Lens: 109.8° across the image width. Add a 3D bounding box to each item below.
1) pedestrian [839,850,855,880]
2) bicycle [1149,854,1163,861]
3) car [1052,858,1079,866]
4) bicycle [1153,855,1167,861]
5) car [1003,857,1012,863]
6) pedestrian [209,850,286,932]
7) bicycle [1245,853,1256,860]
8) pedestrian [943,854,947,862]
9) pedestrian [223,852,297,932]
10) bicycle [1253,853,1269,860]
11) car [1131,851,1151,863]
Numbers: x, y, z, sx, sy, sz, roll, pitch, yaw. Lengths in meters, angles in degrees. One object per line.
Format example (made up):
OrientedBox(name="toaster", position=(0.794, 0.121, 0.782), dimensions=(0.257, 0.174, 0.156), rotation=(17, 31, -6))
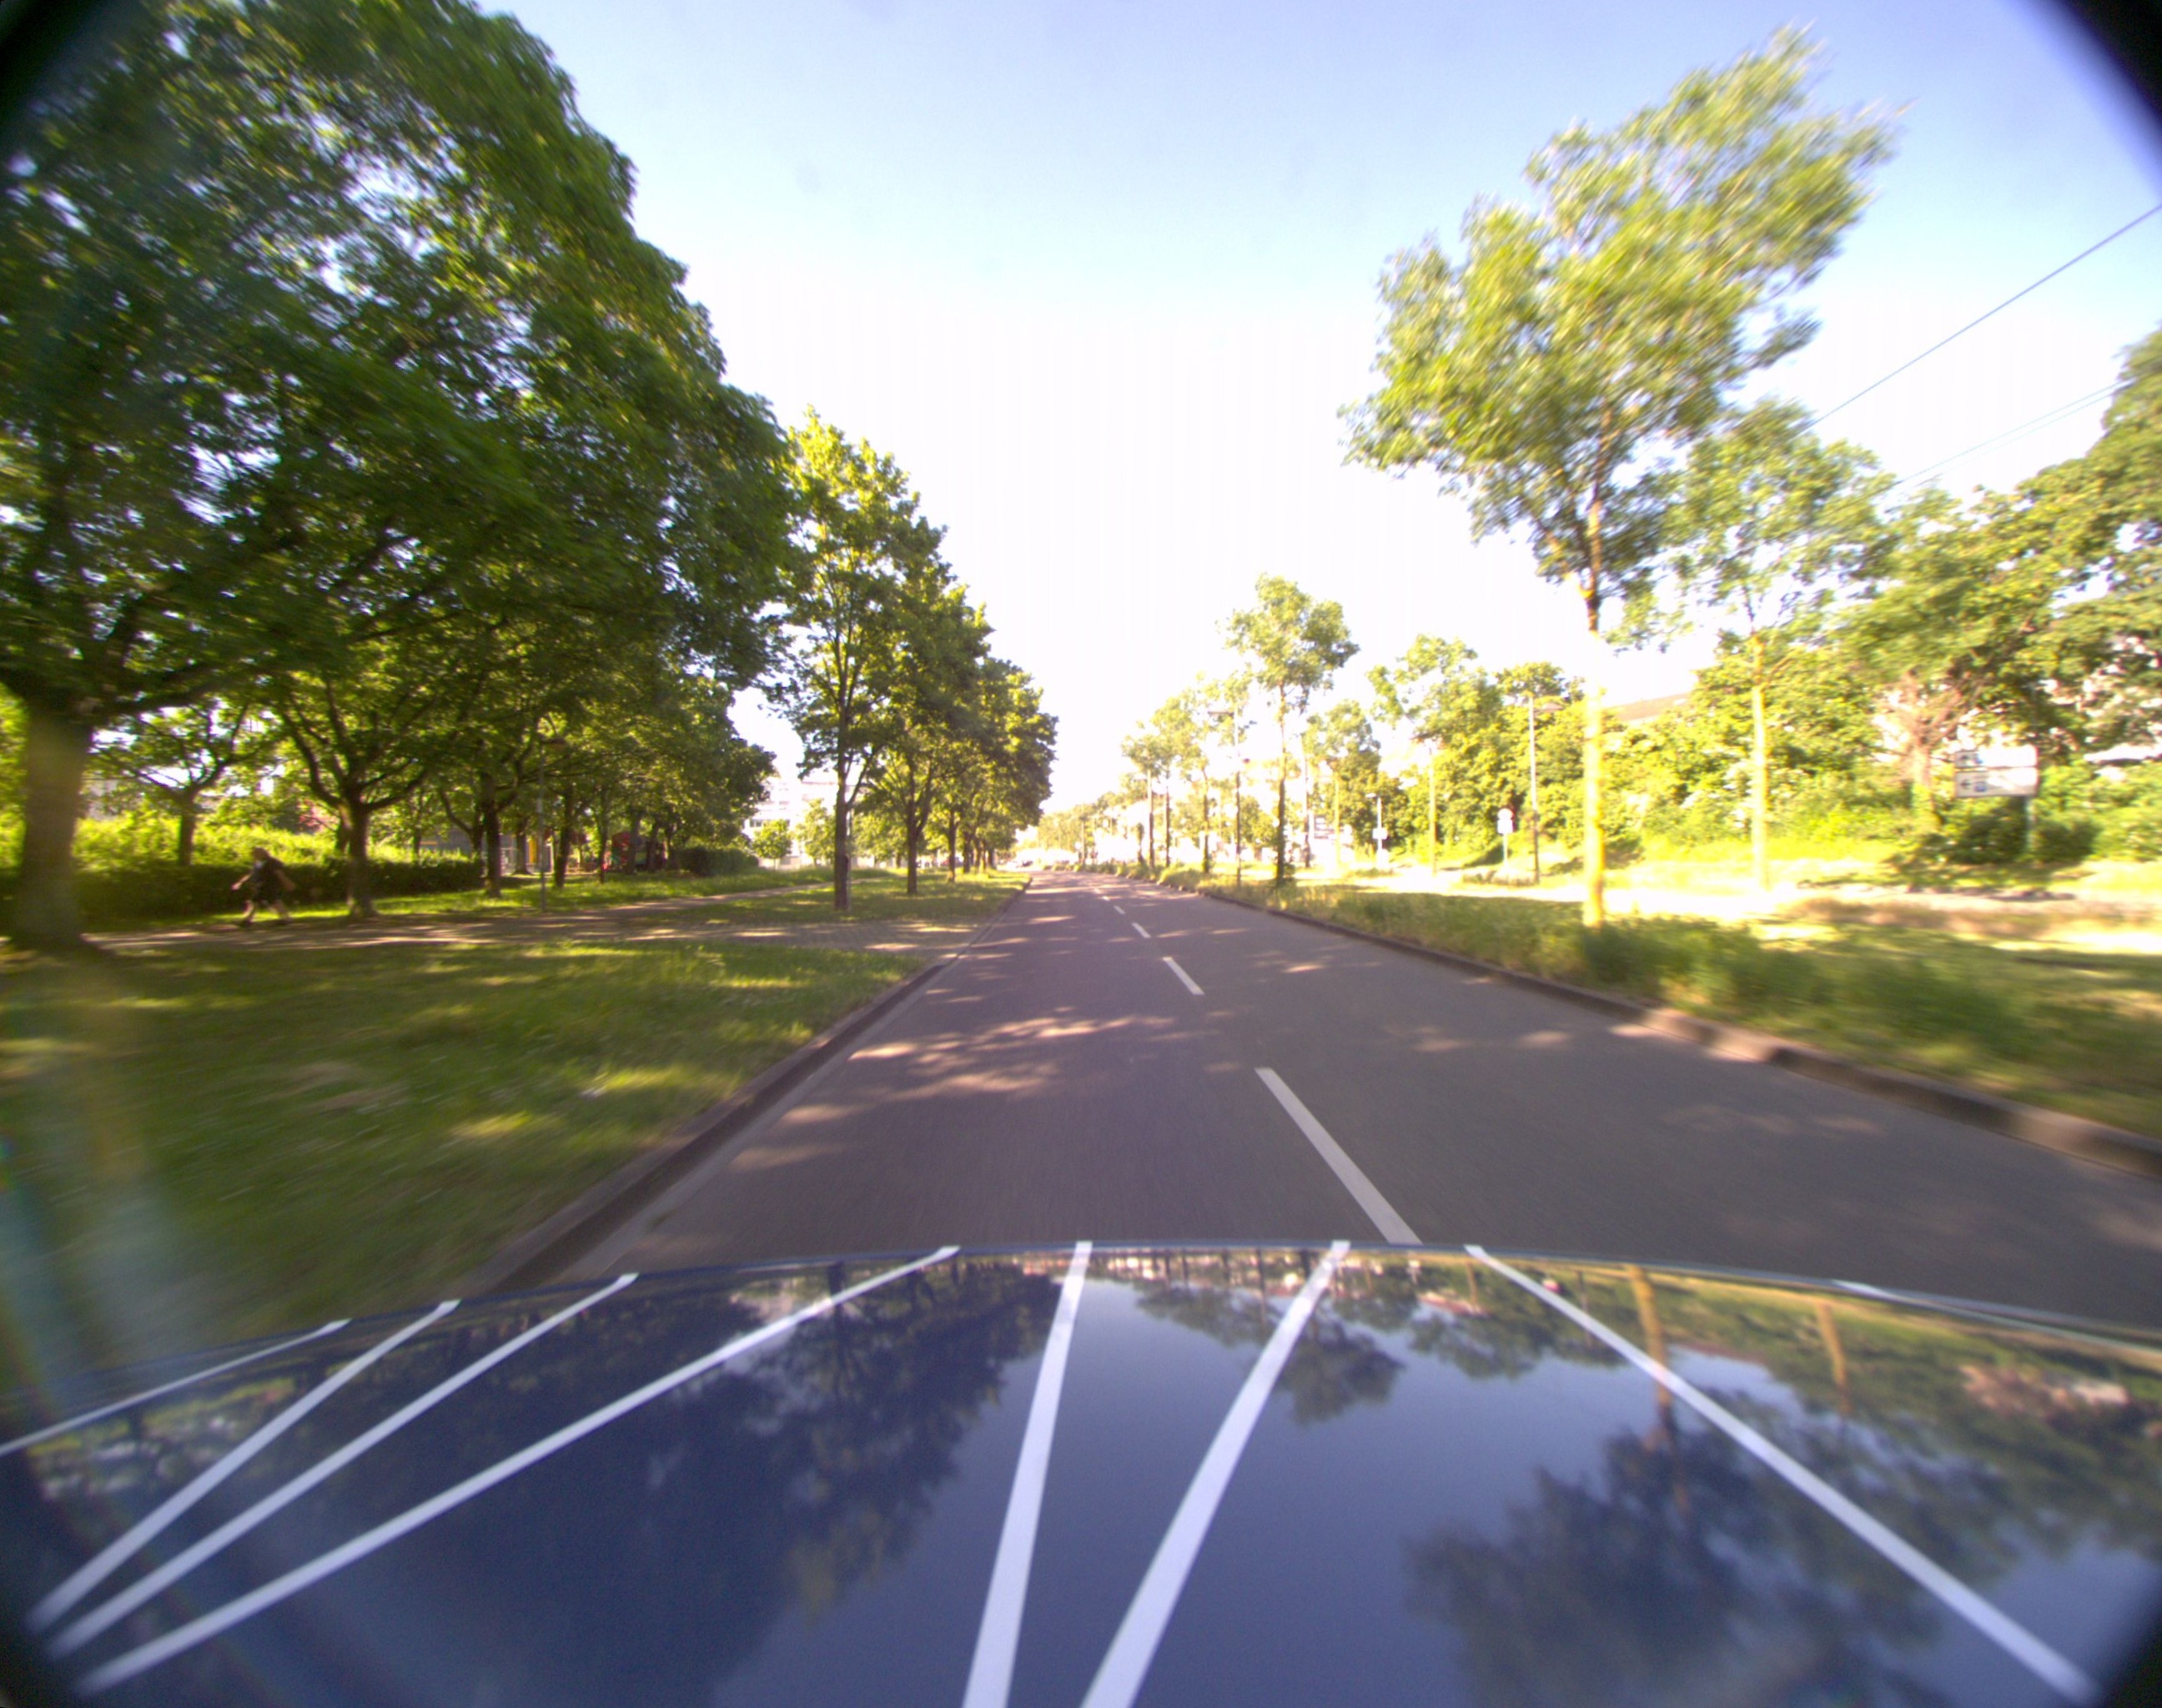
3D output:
OrientedBox(name="pedestrian", position=(-14.138, 0.648, 45.901), dimensions=(0.718, 1.793, 0.793), rotation=(-1, 1, -4))
OrientedBox(name="bicycle", position=(14.576, 0.728, 147.588), dimensions=(2.582, 1.301, 0.662), rotation=(-1, 0, -16))
OrientedBox(name="car", position=(-2.833, 1.422, 138.325), dimensions=(4.193, 1.457, 2.330), rotation=(-1, 0, -22))
OrientedBox(name="bicycle", position=(15.073, 0.786, 145.521), dimensions=(2.582, 1.152, 0.782), rotation=(-1, 0, -16))
OrientedBox(name="car", position=(-24.440, 1.966, 252.036), dimensions=(1.835, 1.700, 4.234), rotation=(-1, 0, -21))
OrientedBox(name="pedestrian", position=(-17.544, 0.756, 16.007), dimensions=(0.637, 1.682, 0.844), rotation=(-1, 1, 9))
OrientedBox(name="bicycle", position=(28.865, 0.416, 129.530), dimensions=(0.720, 1.205, 2.549), rotation=(-1, 0, -15))
OrientedBox(name="pedestrian", position=(-29.187, 0.898, 162.643), dimensions=(0.733, 1.687, 0.734), rotation=(-1, 0, -14))
OrientedBox(name="pedestrian", position=(-16.969, 0.765, 15.716), dimensions=(0.548, 1.613, 0.844), rotation=(-1, 1, 9))
OrientedBox(name="bicycle", position=(30.350, 0.397, 128.061), dimensions=(2.554, 1.205, 0.718), rotation=(-1, 0, -15))
OrientedBox(name="car", position=(9.769, 0.483, 124.254), dimensions=(1.826, 1.630, 4.486), rotation=(-1, -3, -14))
